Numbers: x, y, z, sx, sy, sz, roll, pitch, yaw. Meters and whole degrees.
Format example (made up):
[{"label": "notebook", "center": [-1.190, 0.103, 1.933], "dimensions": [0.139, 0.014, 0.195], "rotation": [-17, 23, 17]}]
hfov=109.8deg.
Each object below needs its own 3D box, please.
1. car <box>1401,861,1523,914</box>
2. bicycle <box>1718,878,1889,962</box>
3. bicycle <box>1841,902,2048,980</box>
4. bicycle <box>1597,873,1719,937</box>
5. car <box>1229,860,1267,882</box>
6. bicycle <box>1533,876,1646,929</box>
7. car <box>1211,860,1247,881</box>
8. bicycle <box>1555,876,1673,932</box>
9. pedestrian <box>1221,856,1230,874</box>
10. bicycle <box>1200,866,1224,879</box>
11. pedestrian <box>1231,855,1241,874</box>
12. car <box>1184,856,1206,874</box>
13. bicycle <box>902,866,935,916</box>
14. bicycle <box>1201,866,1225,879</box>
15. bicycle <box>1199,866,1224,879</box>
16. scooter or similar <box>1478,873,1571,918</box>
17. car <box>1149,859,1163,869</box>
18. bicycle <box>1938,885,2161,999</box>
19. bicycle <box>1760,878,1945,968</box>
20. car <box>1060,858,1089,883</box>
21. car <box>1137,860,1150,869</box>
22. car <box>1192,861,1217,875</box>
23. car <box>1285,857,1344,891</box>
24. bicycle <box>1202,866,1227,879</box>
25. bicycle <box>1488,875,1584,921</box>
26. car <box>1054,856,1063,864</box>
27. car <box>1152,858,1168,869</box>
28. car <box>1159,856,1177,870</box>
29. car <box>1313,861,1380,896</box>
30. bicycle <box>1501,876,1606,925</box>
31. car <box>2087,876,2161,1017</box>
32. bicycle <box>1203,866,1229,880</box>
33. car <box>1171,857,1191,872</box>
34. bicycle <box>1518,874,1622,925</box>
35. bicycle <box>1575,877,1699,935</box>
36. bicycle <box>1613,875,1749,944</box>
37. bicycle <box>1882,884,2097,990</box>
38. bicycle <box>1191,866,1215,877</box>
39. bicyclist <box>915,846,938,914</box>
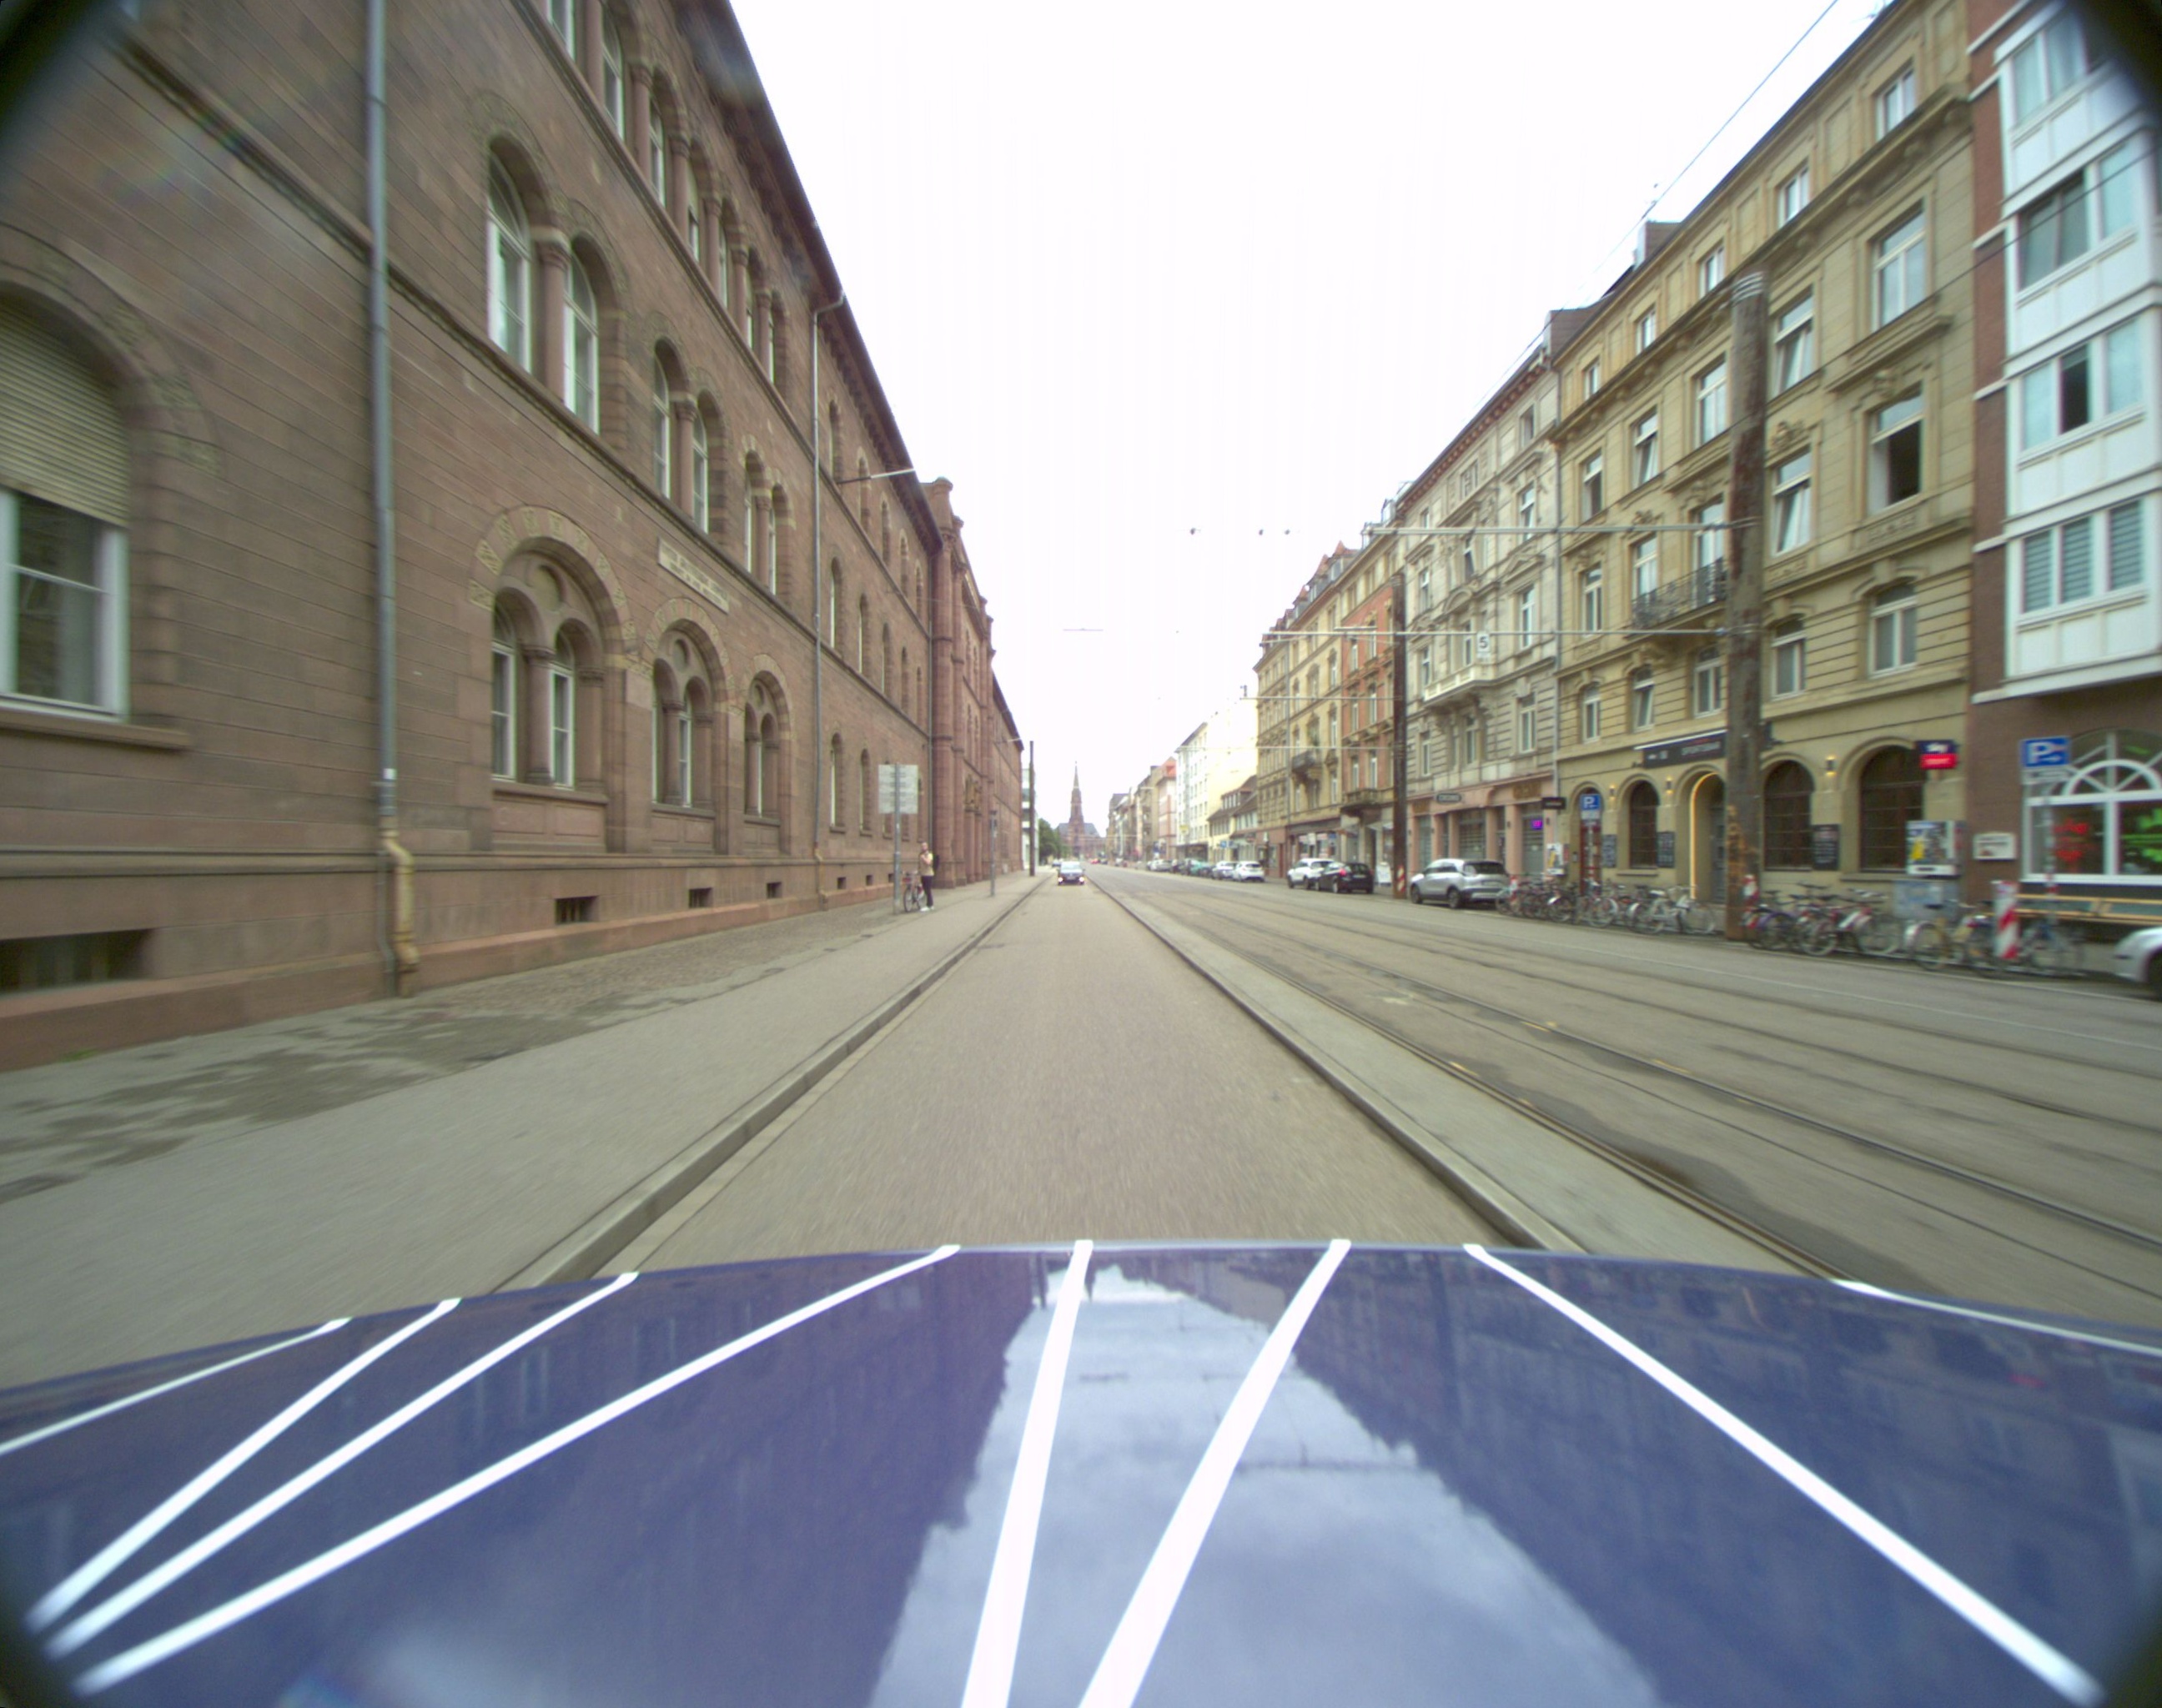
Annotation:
[{"label": "car", "center": [12.278, 1.022, 24.813], "dimensions": [1.748, 1.524, 4.225], "rotation": [1, 0, -1]}, {"label": "bicycle", "center": [12.436, 1.125, 13.119], "dimensions": [2.288, 1.321, 0.666], "rotation": [2, 0, 0]}, {"label": "bicycle", "center": [12.373, 1.236, 10.920], "dimensions": [2.288, 1.035, 0.619], "rotation": [0, 0, 0]}, {"label": "bicycle", "center": [12.550, 1.106, 16.542], "dimensions": [2.288, 1.286, 0.448], "rotation": [-2, 1, 0]}, {"label": "car", "center": [11.885, 1.194, 54.238], "dimensions": [1.748, 1.456, 4.045], "rotation": [1, 0, -1]}, {"label": "bicycle", "center": [12.481, 1.186, 18.687], "dimensions": [2.288, 1.196, 0.705], "rotation": [2, 0, 0]}, {"label": "car", "center": [11.441, 1.248, 58.978], "dimensions": [1.829, 1.512, 4.545], "rotation": [1, -1, 0]}, {"label": "bicycle", "center": [12.536, 1.173, 17.912], "dimensions": [2.288, 1.196, 0.666], "rotation": [2, 0, 0]}, {"label": "pedestrian", "center": [13.295, 1.023, 69.713], "dimensions": [0.657, 1.607, 0.728], "rotation": [-1, 1, -1]}, {"label": "bicycle", "center": [11.417, 1.605, 66.273], "dimensions": [2.044, 1.091, 0.557], "rotation": [-1, 1, 0]}, {"label": "pedestrian", "center": [14.178, 0.959, 69.567], "dimensions": [0.657, 1.702, 0.753], "rotation": [-1, 1, -1]}, {"label": "car", "center": [11.652, 1.110, 78.087], "dimensions": [1.707, 1.747, 3.920], "rotation": [1, 0, 1]}, {"label": "bicycle", "center": [-4.510, 0.993, 21.147], "dimensions": [0.446, 1.269, 2.226], "rotation": [2, 0, -1]}, {"label": "bicycle", "center": [11.404, 1.593, 65.658], "dimensions": [2.044, 1.091, 0.557], "rotation": [-1, 1, 0]}, {"label": "bicycle", "center": [11.494, 1.639, 66.854], "dimensions": [2.044, 1.091, 0.557], "rotation": [-1, 1, 0]}, {"label": "scooter or similar", "center": [12.417, 1.157, 21.305], "dimensions": [2.288, 1.196, 0.547], "rotation": [-1, 0, 0]}, {"label": "car", "center": [11.066, 1.479, 112.546], "dimensions": [1.733, 1.335, 3.246], "rotation": [-1, 0, -1]}, {"label": "bicycle", "center": [12.434, 1.098, 9.659], "dimensions": [2.288, 1.321, 0.666], "rotation": [2, 0, 0]}, {"label": "bicycle", "center": [12.436, 1.100, 12.290], "dimensions": [2.288, 1.321, 0.666], "rotation": [2, 0, 0]}, {"label": "car", "center": [-0.483, 1.043, 49.208], "dimensions": [1.747, 1.538, 3.649], "rotation": [-1, 0, -2]}, {"label": "car", "center": [10.692, 1.786, 130.438], "dimensions": [1.868, 1.553, 3.999], "rotation": [2, 0, -1]}, {"label": "car", "center": [11.919, 1.353, 73.635], "dimensions": [1.651, 1.372, 3.435], "rotation": [1, -1, -4]}, {"label": "car", "center": [12.147, 1.023, 39.750], "dimensions": [1.748, 1.662, 4.045], "rotation": [1, 0, -1]}, {"label": "bicycle", "center": [11.430, 1.605, 65.004], "dimensions": [2.044, 1.091, 0.557], "rotation": [-1, 1, 0]}, {"label": "bicycle", "center": [12.370, 1.177, 20.669], "dimensions": [2.288, 1.196, 0.547], "rotation": [-1, 0, 0]}, {"label": "car", "center": [-5.039, 1.311, 169.260], "dimensions": [1.835, 1.652, 3.999], "rotation": [-1, 0, -1]}, {"label": "car", "center": [10.976, 1.344, 106.235], "dimensions": [1.733, 1.443, 3.826], "rotation": [-1, 0, -1]}, {"label": "car", "center": [11.370, 1.190, 99.445], "dimensions": [1.929, 1.722, 3.826], "rotation": [-1, 0, -1]}, {"label": "car", "center": [12.200, 1.079, 35.164], "dimensions": [1.748, 1.479, 3.920], "rotation": [1, 0, 0]}, {"label": "bicycle", "center": [12.405, 1.208, 19.984], "dimensions": [2.288, 1.196, 0.705], "rotation": [2, 0, 0]}, {"label": "car", "center": [12.371, 0.990, 6.700], "dimensions": [1.748, 1.479, 3.920], "rotation": [1, 0, -2]}, {"label": "bicycle", "center": [11.429, 1.587, 64.352], "dimensions": [2.139, 1.091, 0.557], "rotation": [-1, 1, 0]}, {"label": "car", "center": [11.612, 1.223, 88.331], "dimensions": [1.705, 1.662, 4.181], "rotation": [-1, 0, 0]}, {"label": "bicycle", "center": [12.420, 1.159, 19.330], "dimensions": [2.288, 1.196, 0.540], "rotation": [-1, 2, 0]}, {"label": "bicycle", "center": [12.548, 1.174, 17.198], "dimensions": [2.288, 1.196, 0.666], "rotation": [2, 0, 0]}, {"label": "bicycle", "center": [12.571, 1.151, 15.945], "dimensions": [2.288, 1.321, 0.666], "rotation": [2, 0, 0]}, {"label": "bicycle", "center": [12.377, 1.118, 10.381], "dimensions": [2.288, 1.321, 0.521], "rotation": [2, 0, 0]}, {"label": "bicycle", "center": [11.039, 1.586, 68.827], "dimensions": [2.044, 0.928, 0.557], "rotation": [-1, 1, 1]}, {"label": "bicyclist", "center": [-4.284, 0.719, 21.076], "dimensions": [0.530, 1.847, 0.450], "rotation": [1, 1, -1]}]
